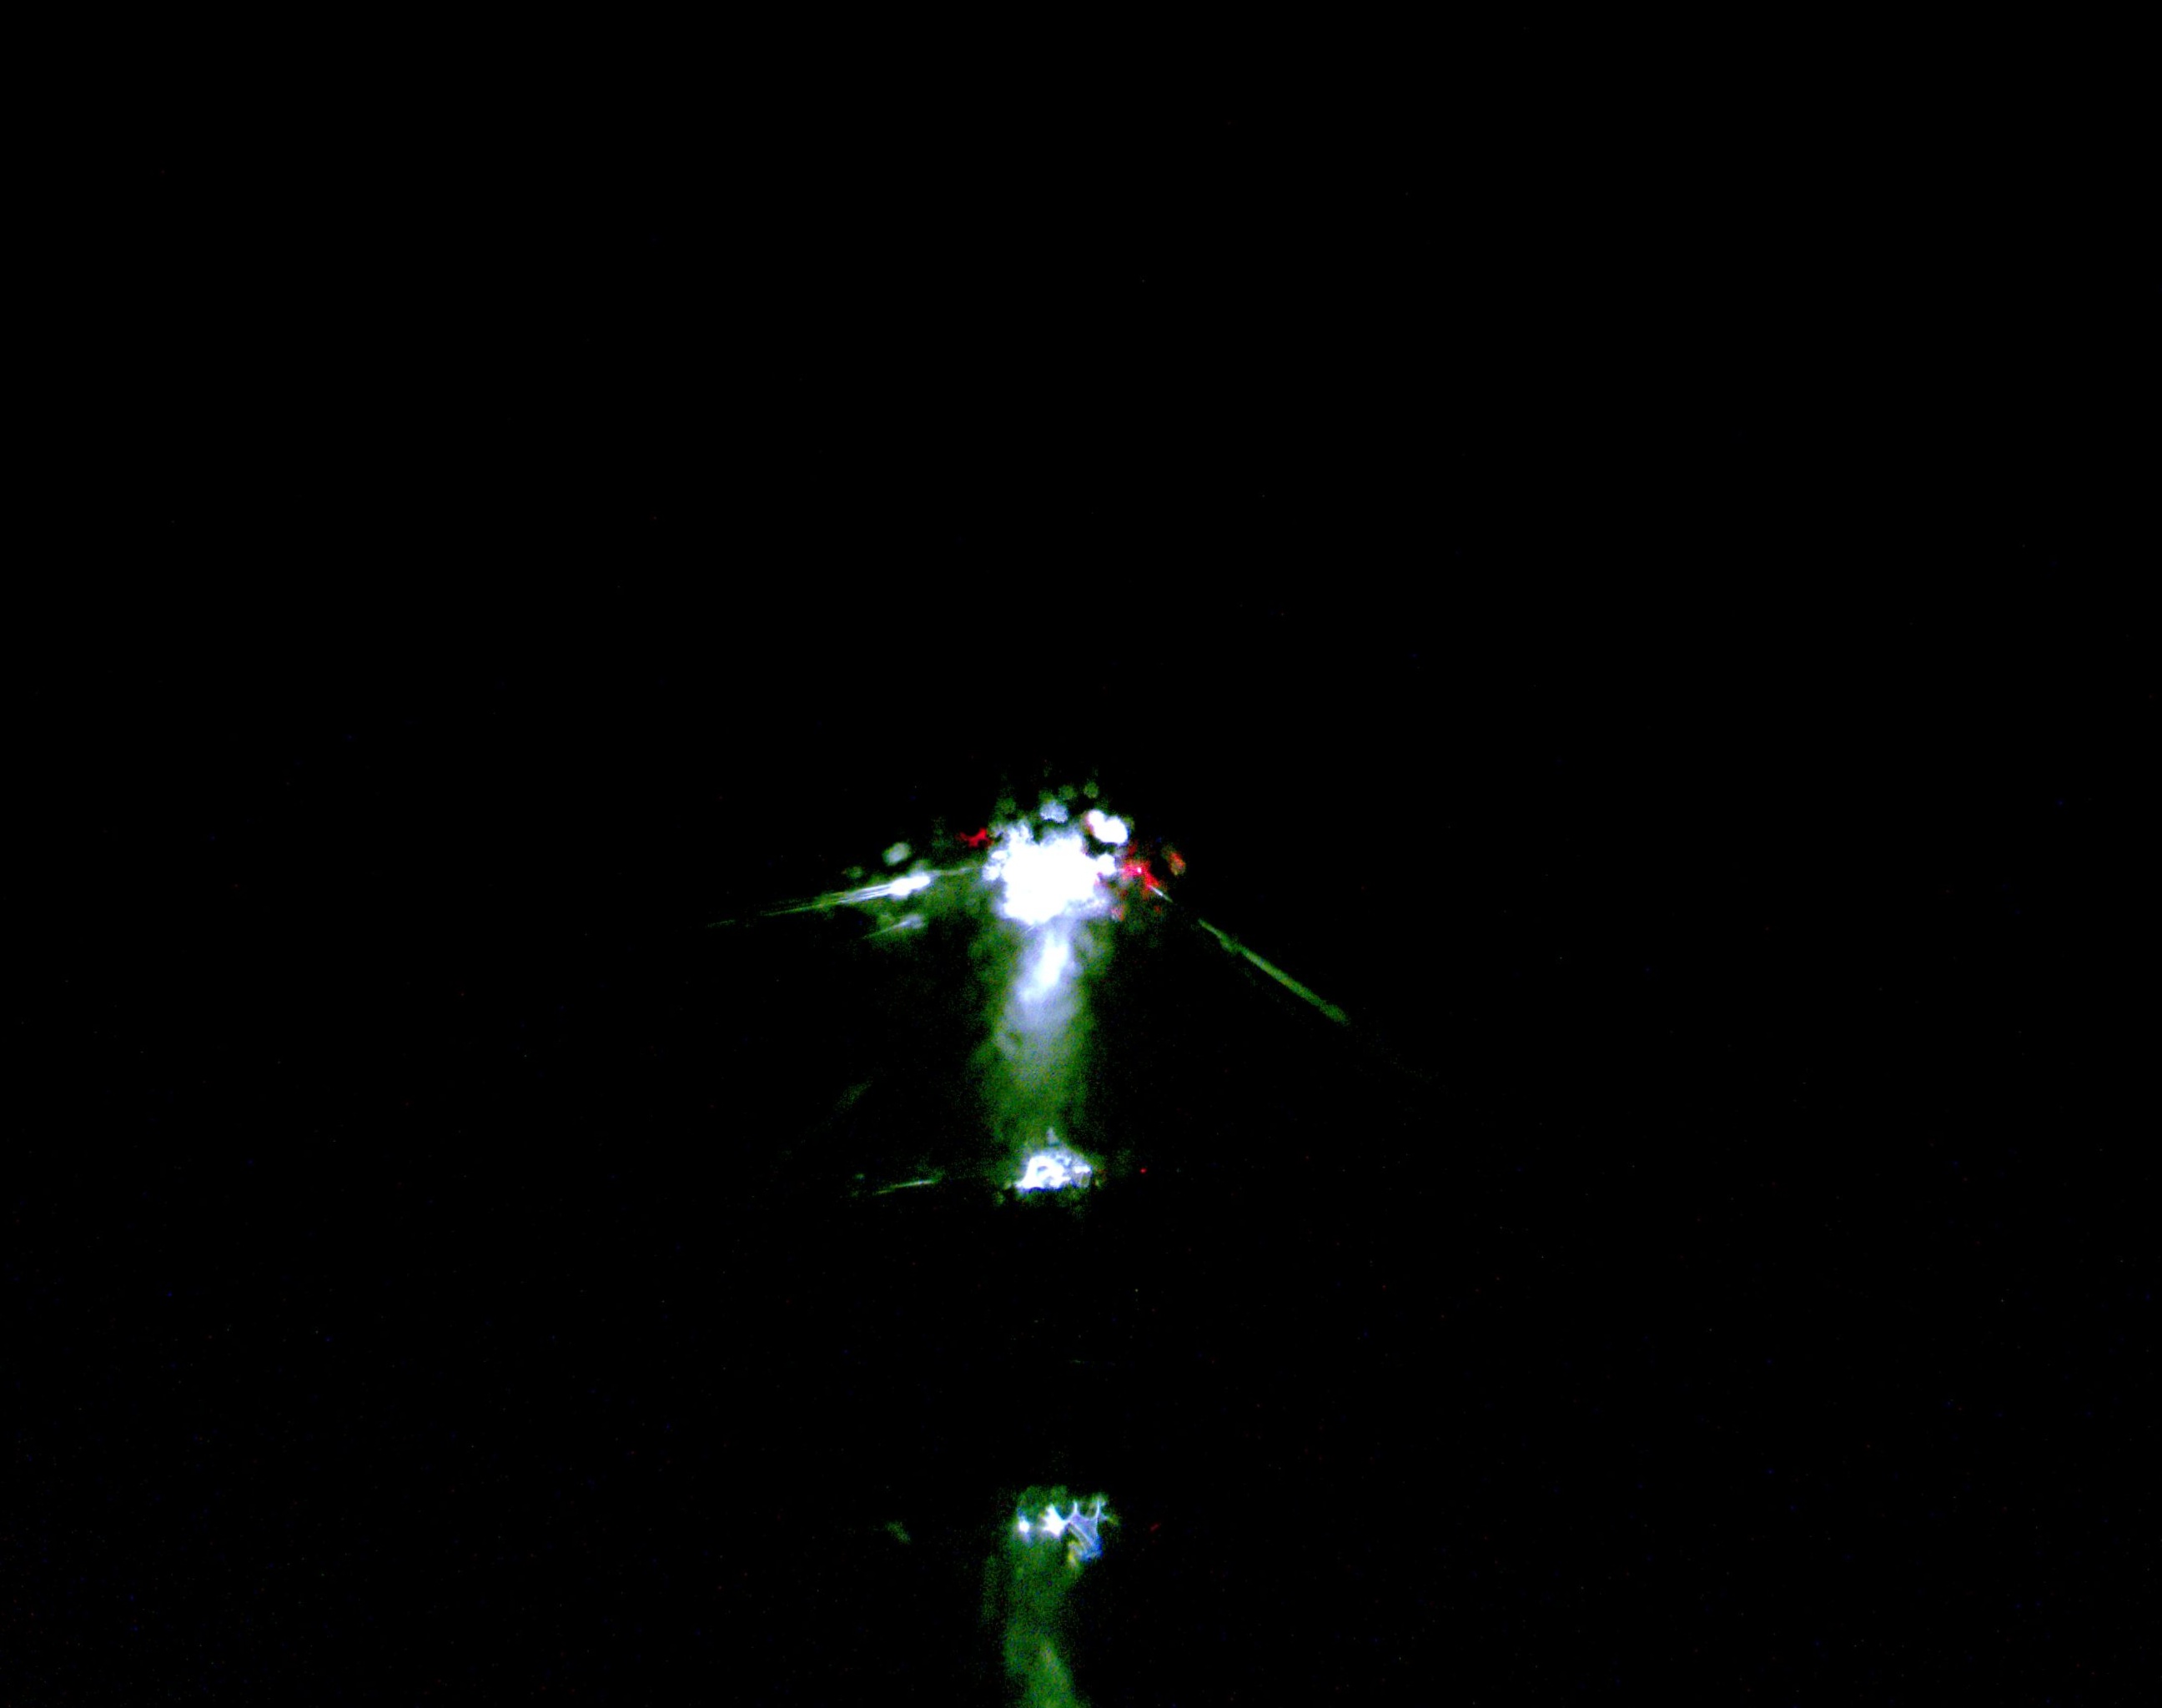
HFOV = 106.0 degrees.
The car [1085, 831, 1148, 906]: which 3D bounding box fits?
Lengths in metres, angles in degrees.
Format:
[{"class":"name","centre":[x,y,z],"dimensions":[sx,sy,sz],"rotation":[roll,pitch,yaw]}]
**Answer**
[{"class":"car","centre":[1.314,0.445,30.575],"dimensions":[2.173,2.557,4.510],"rotation":[0,2,2]}]

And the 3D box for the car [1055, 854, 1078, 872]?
[{"class":"car","centre":[-1.254,0.751,71.048],"dimensions":[1.779,1.510,3.601],"rotation":[-1,0,1]}]

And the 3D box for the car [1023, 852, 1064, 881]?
[{"class":"car","centre":[-2.089,0.662,46.658],"dimensions":[1.967,1.516,4.348],"rotation":[-1,0,1]}]

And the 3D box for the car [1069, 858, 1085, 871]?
[{"class":"car","centre":[-0.519,1.419,109.547],"dimensions":[1.852,1.637,4.145],"rotation":[-1,0,2]}]
